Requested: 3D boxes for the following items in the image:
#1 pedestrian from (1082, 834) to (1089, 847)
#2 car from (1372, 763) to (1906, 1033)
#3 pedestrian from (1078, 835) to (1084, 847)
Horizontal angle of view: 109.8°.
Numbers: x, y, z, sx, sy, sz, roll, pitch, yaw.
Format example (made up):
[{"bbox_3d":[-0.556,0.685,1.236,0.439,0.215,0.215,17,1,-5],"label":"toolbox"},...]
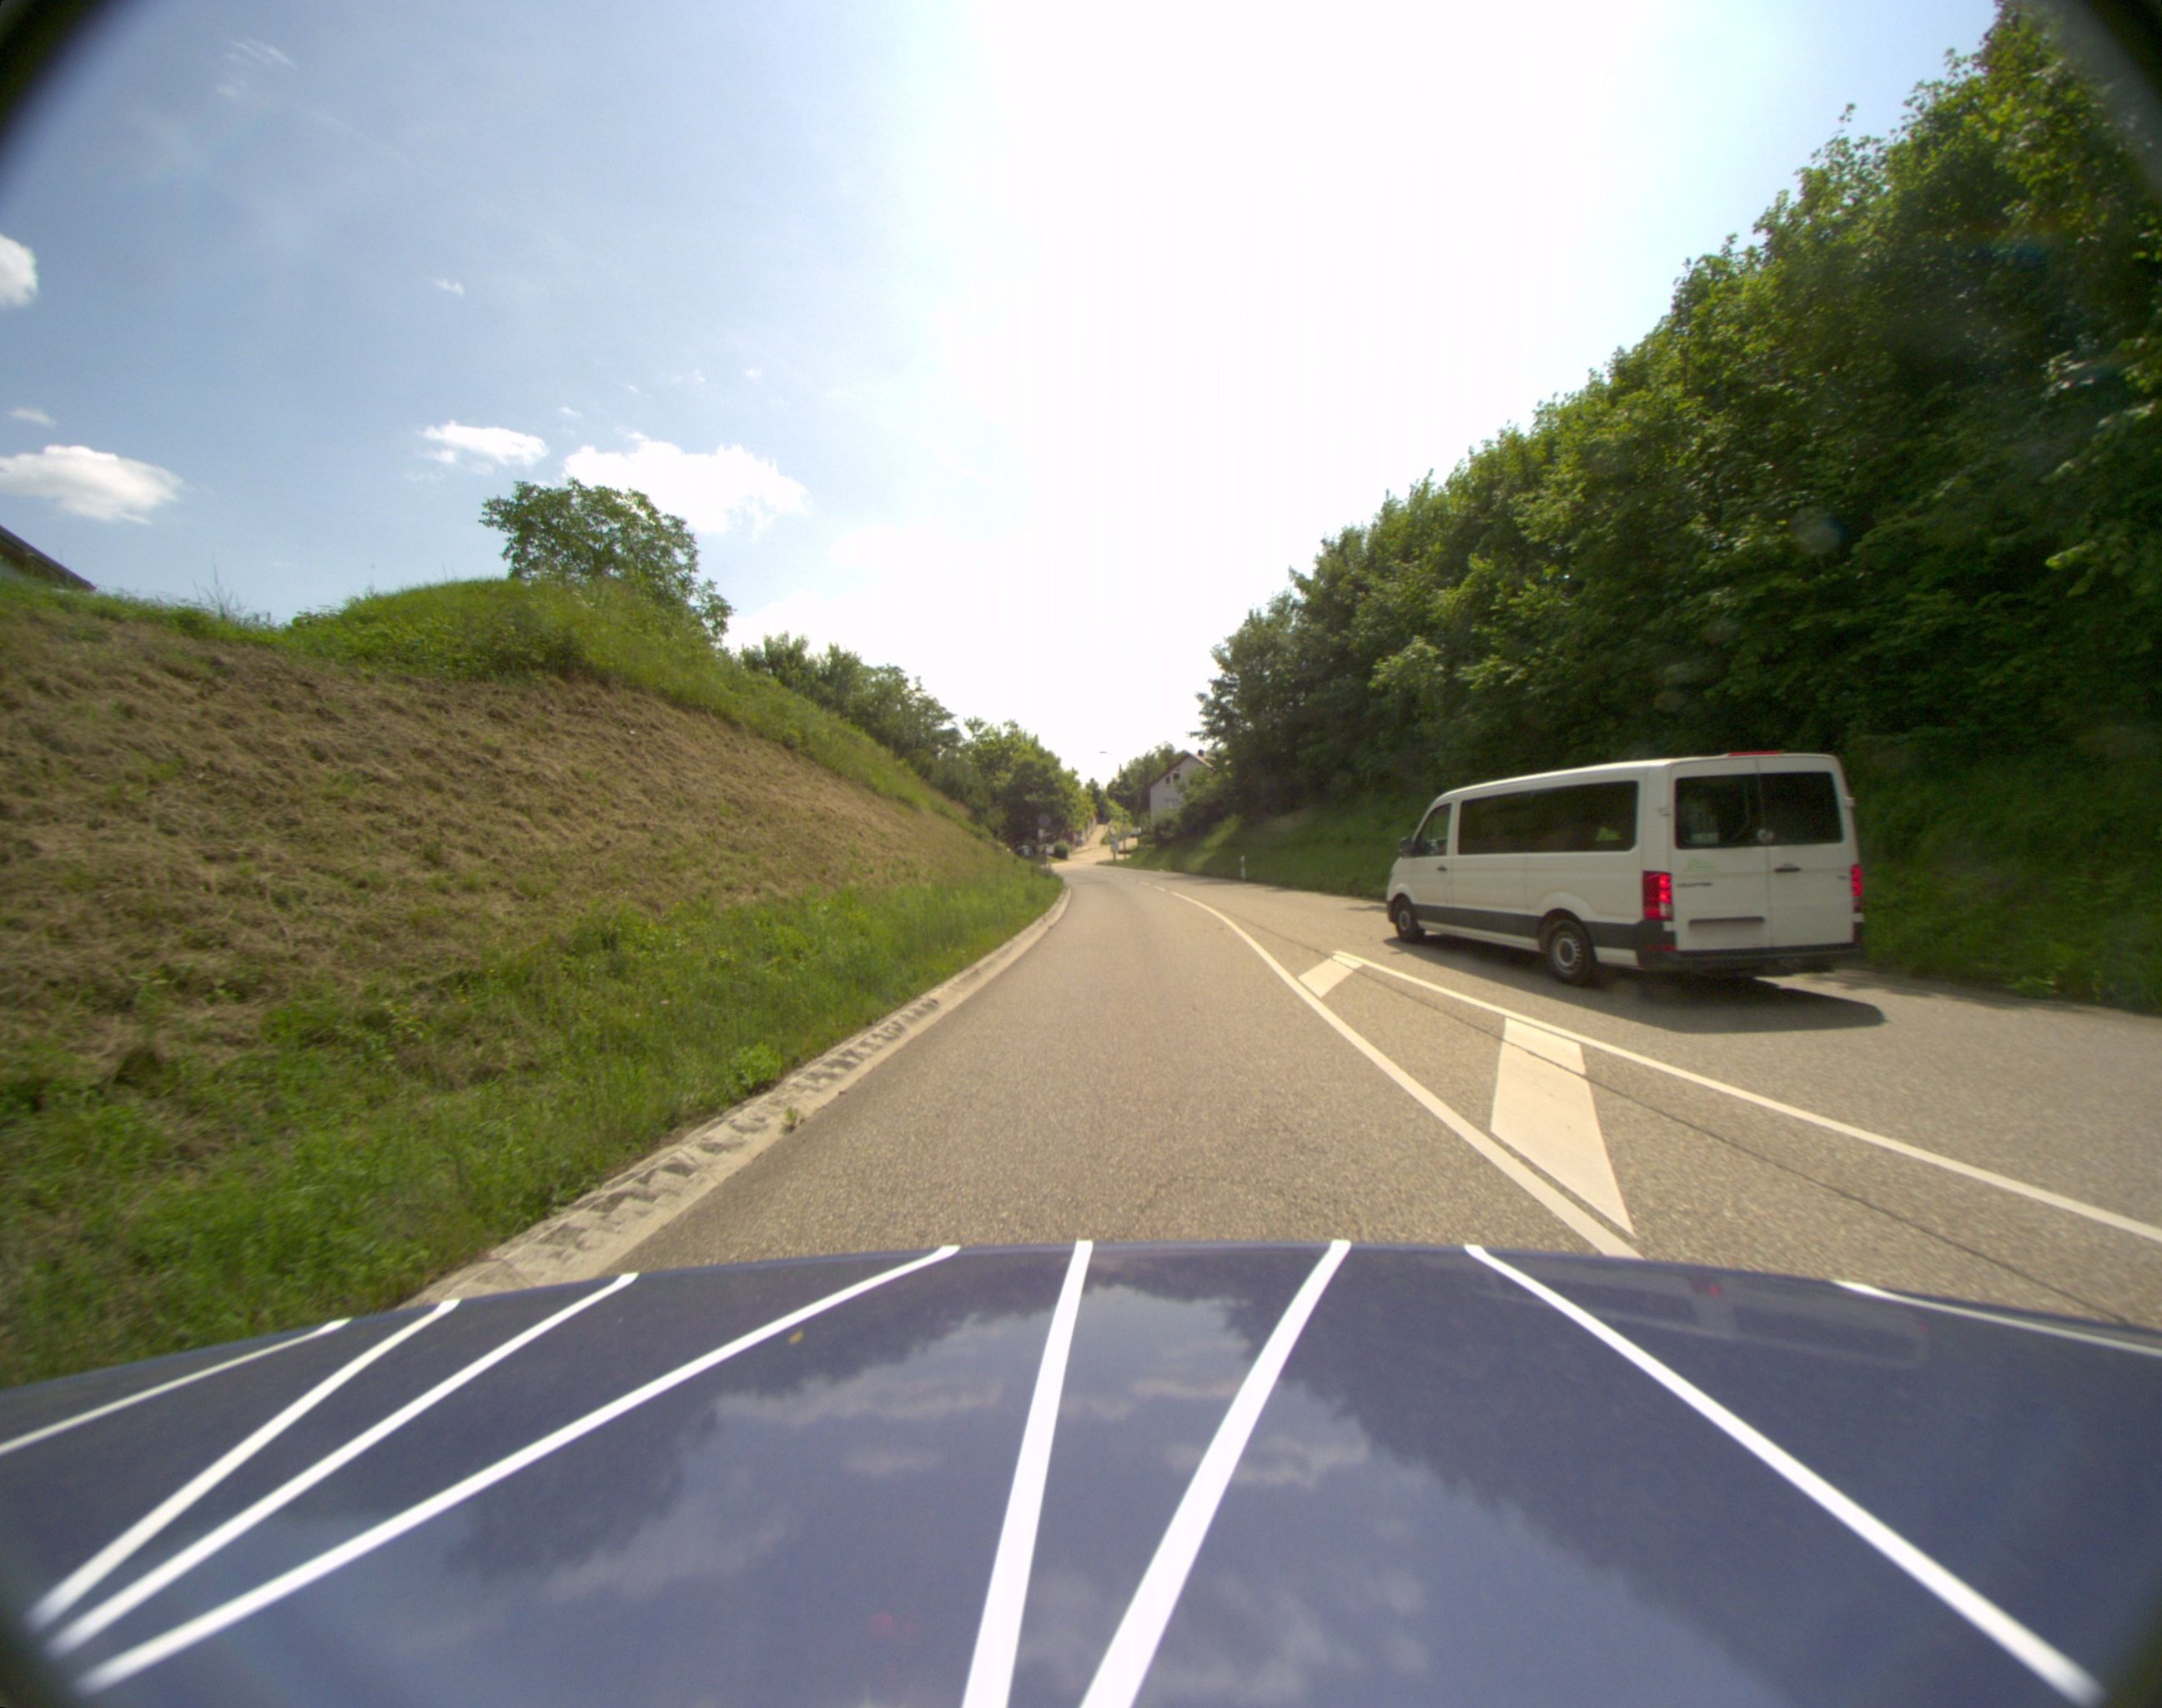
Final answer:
[{"bbox_3d":[0.622,-1.779,100.599,0.686,1.703,0.790,-4,3,7],"label":"pedestrian"},{"bbox_3d":[5.905,0.334,9.447,2.091,2.277,5.944,-1,1,-2],"label":"car"},{"bbox_3d":[0.005,-1.673,100.366,0.573,1.546,0.599,-4,3,7],"label":"pedestrian"}]
